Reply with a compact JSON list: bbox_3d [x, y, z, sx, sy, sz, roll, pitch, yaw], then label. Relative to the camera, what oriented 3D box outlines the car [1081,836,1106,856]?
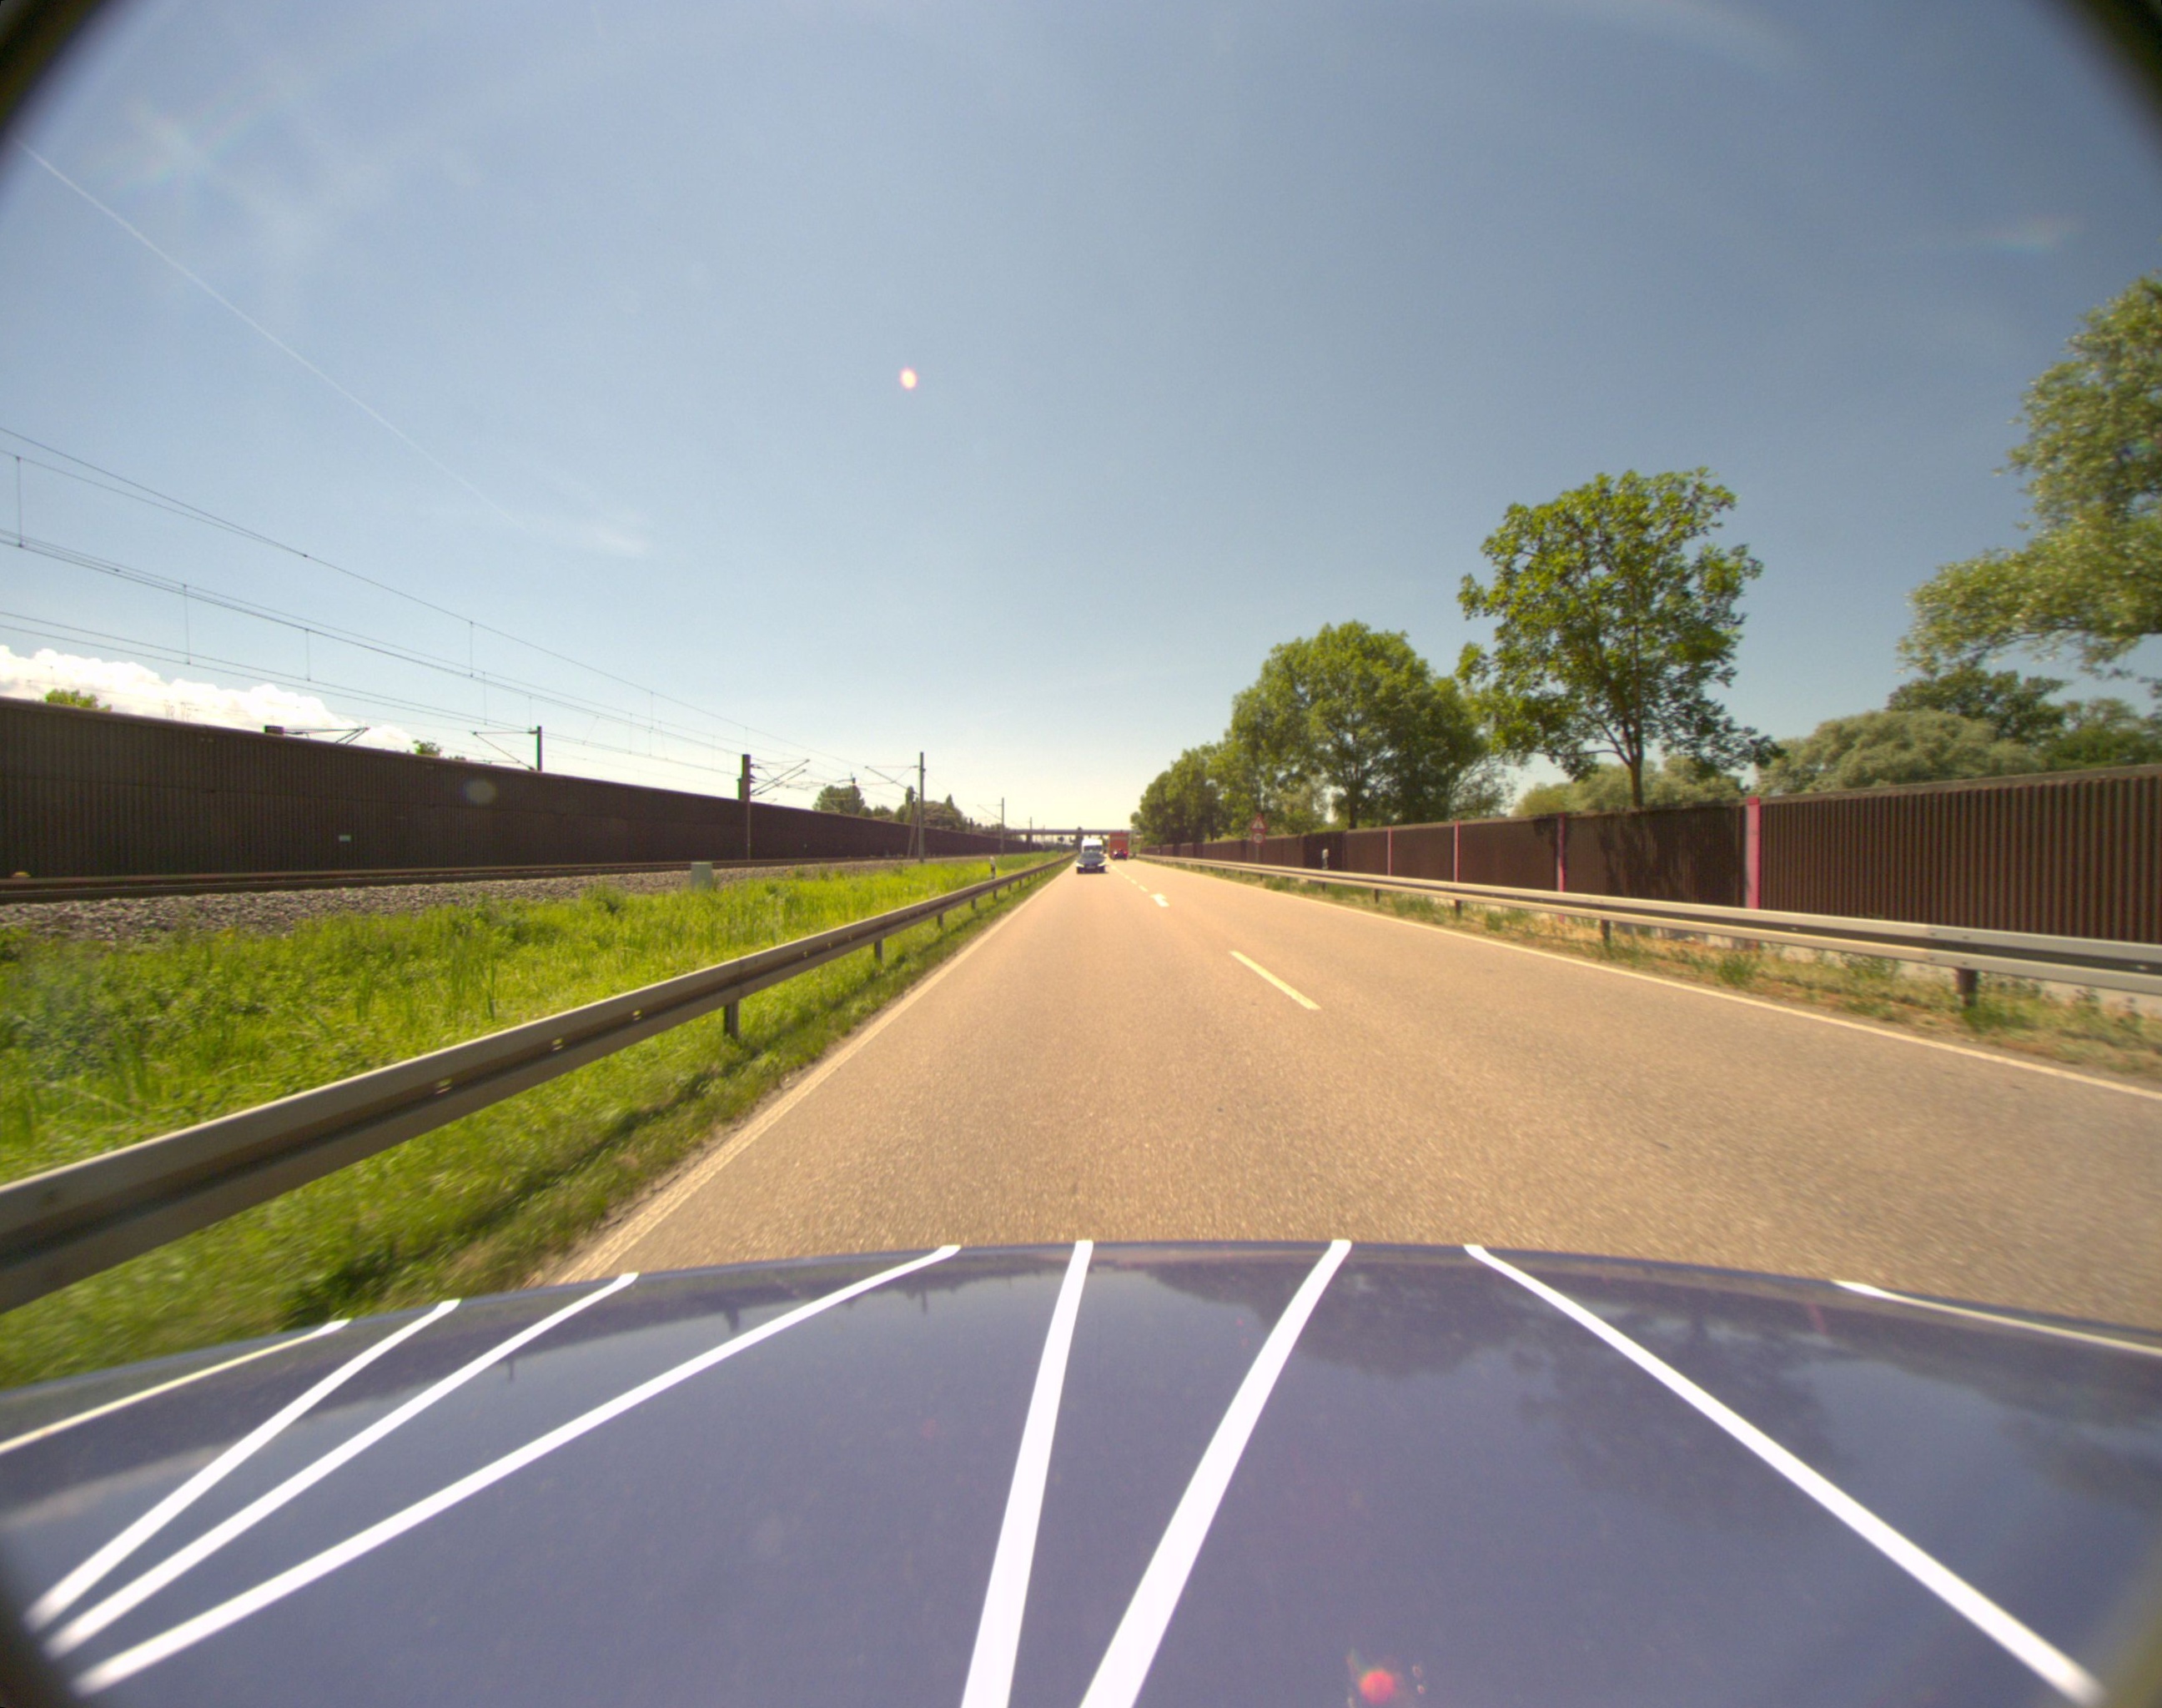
[{"bbox_3d":[1.146,-0.754,69.369,2.161,1.702,4.492,-2,1,1],"label":"car"}]

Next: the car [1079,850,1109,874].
[{"bbox_3d":[0.797,0.454,47.478,1.758,1.313,4.000,-2,1,1],"label":"car"}]

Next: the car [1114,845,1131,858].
[{"bbox_3d":[5.444,-0.354,99.259,1.994,1.486,4.492,-2,1,1],"label":"car"}]

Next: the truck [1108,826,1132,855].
[{"bbox_3d":[5.674,-1.924,112.472,3.132,3.942,9.717,-2,1,1],"label":"truck"}]
